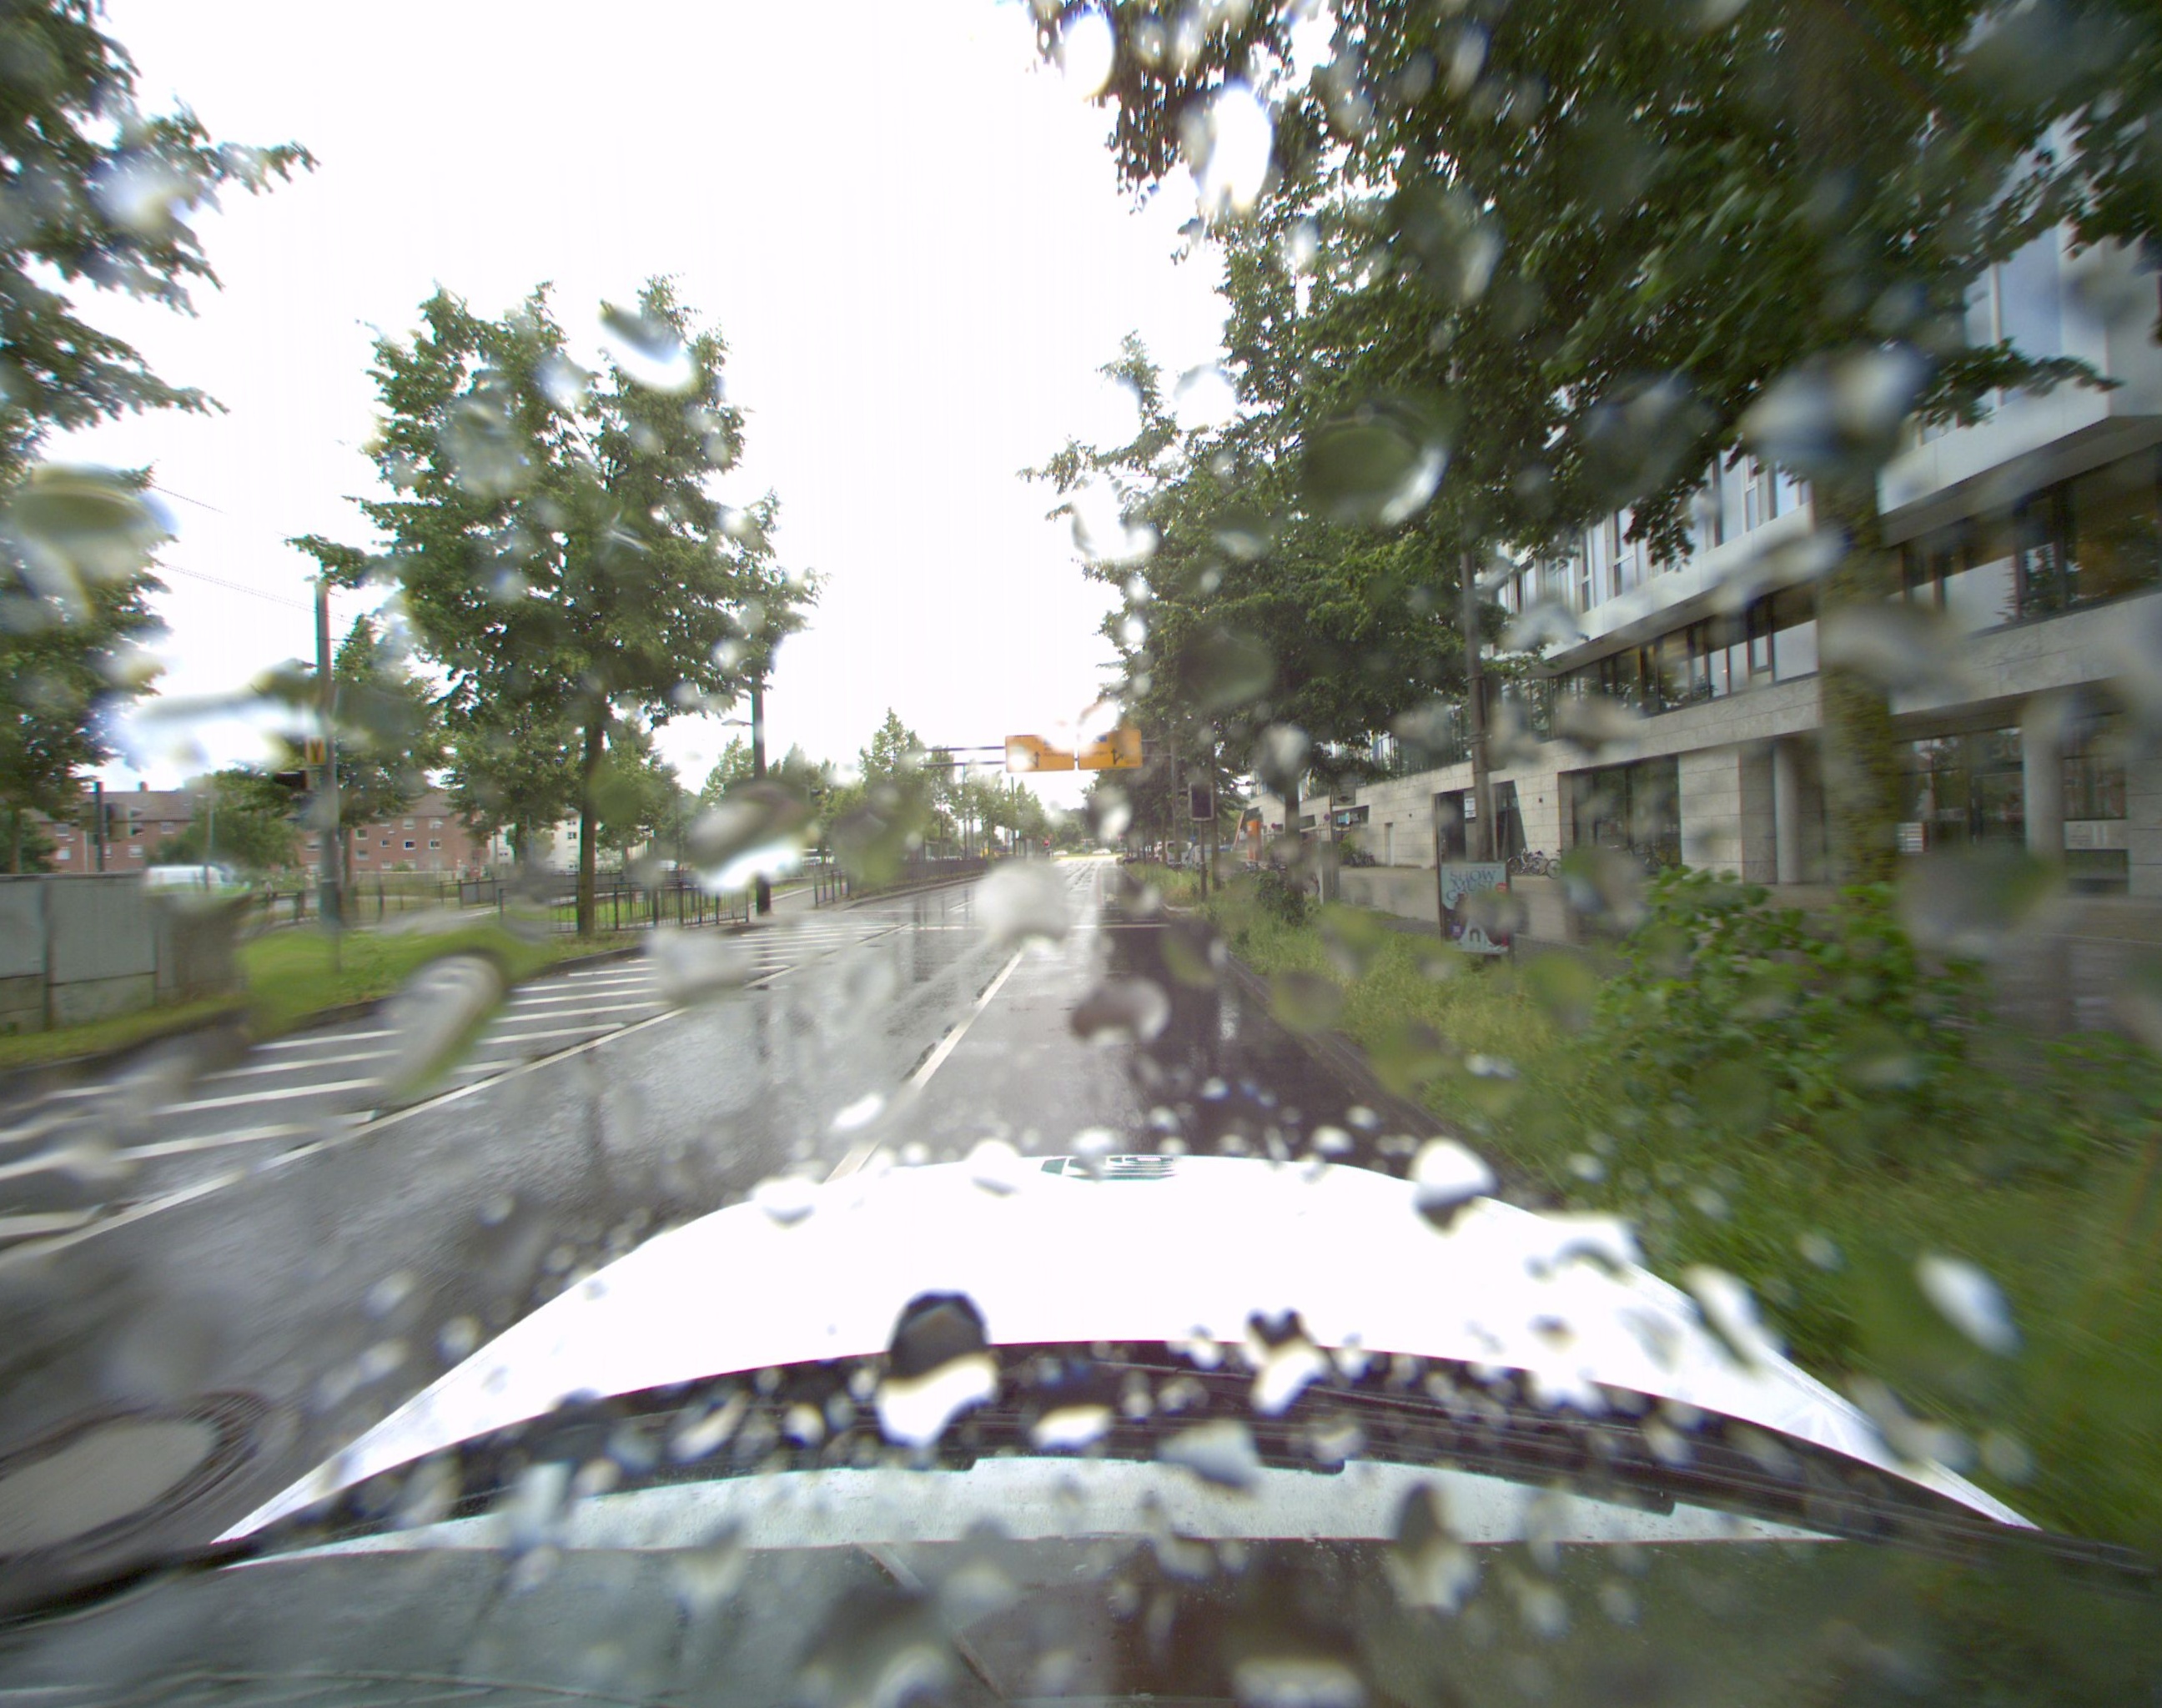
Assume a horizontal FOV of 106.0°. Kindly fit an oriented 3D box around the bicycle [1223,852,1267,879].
[{"bbox_3d":[6.392,0.447,31.787,1.637,0.988,0.320,-2,0,0],"label":"bicycle"}]

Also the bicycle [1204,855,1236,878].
[{"bbox_3d":[6.006,0.536,35.266,1.321,0.910,0.275,-2,0,0],"label":"bicycle"}]

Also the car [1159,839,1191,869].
[{"bbox_3d":[7.609,0.012,66.229,2.113,2.274,4.566,-2,0,1],"label":"car"}]

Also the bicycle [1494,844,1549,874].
[{"bbox_3d":[16.050,0.181,29.694,1.742,1.028,0.412,-2,-1,3],"label":"bicycle"}]

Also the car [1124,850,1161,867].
[{"bbox_3d":[6.279,0.450,83.406,1.827,1.545,3.961,-3,3,-31],"label":"car"}]

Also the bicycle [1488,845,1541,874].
[{"bbox_3d":[16.075,0.199,30.238,1.686,1.028,0.423,-2,-1,3],"label":"bicycle"}]

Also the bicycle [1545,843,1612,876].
[{"bbox_3d":[16.340,0.174,26.756,1.798,1.028,0.541,-2,-1,3],"label":"bicycle"}]

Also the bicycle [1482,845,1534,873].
[{"bbox_3d":[16.098,0.189,30.724,1.686,1.028,0.423,-2,-1,3],"label":"bicycle"}]

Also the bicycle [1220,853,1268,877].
[{"bbox_3d":[6.409,0.436,32.102,1.810,0.849,0.275,-2,0,0],"label":"bicycle"}]

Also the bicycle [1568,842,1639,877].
[{"bbox_3d":[16.254,0.179,25.352,1.798,1.028,0.541,-2,-1,3],"label":"bicycle"}]

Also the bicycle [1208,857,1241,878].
[{"bbox_3d":[5.963,0.566,33.912,1.284,0.849,0.275,-2,0,0],"label":"bicycle"}]

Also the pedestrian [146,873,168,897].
[{"bbox_3d":[-67.559,2.234,59.527,0.676,1.671,0.695,-2,2,-7],"label":"pedestrian"}]

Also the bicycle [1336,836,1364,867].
[{"bbox_3d":[16.075,-0.183,48.736,0.642,1.722,3.122,-2,2,1],"label":"bicycle"}]

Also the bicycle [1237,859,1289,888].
[{"bbox_3d":[6.218,0.658,27.830,1.703,0.948,0.313,-1,-1,-6],"label":"bicycle"}]

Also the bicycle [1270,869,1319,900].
[{"bbox_3d":[5.994,0.865,22.898,1.279,0.832,0.276,-2,0,12],"label":"bicycle"}]

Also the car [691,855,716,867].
[{"bbox_3d":[-61.545,1.061,132.770,3.546,1.738,1.694,-3,2,-23],"label":"car"}]

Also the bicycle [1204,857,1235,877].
[{"bbox_3d":[6.053,0.566,35.614,1.284,0.849,0.275,-2,0,0],"label":"bicycle"}]

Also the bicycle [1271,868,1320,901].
[{"bbox_3d":[5.915,0.841,22.522,1.279,0.874,0.302,-2,0,12],"label":"bicycle"}]

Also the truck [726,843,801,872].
[{"bbox_3d":[-57.761,0.531,148.300,12.515,4.592,3.374,-3,2,-26],"label":"truck"}]

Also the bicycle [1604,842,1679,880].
[{"bbox_3d":[16.122,0.197,23.433,1.798,1.028,0.402,-2,-1,3],"label":"bicycle"}]

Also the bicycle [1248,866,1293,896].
[{"bbox_3d":[5.752,0.808,24.682,1.282,0.858,0.276,-2,0,5],"label":"bicycle"}]

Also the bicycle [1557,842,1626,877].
[{"bbox_3d":[16.292,0.171,26.001,1.798,1.028,0.541,-2,-1,3],"label":"bicycle"}]

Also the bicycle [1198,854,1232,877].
[{"bbox_3d":[6.124,0.514,37.216,1.455,0.979,0.311,-2,0,0],"label":"bicycle"}]

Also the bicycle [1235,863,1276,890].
[{"bbox_3d":[5.777,0.750,27.035,1.281,0.849,0.276,-2,0,7],"label":"bicycle"}]

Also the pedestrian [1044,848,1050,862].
[{"bbox_3d":[-4.905,0.114,117.455,0.692,2.013,0.658,-1,2,14],"label":"pedestrian"}]

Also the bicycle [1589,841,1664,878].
[{"bbox_3d":[16.161,0.172,24.138,1.798,1.028,0.541,-2,-1,3],"label":"bicycle"}]

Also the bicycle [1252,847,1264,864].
[{"bbox_3d":[17.501,0.098,80.598,0.663,1.534,2.766,-2,2,2],"label":"bicycle"}]

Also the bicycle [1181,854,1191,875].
[{"bbox_3d":[4.362,0.424,33.785,0.273,0.849,1.293,-2,0,2],"label":"bicycle"}]

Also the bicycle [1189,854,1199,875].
[{"bbox_3d":[4.686,0.414,33.821,0.273,0.849,1.293,-2,0,2],"label":"bicycle"}]

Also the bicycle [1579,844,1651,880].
[{"bbox_3d":[16.211,0.236,24.746,1.798,1.028,0.541,-2,-1,3],"label":"bicycle"}]

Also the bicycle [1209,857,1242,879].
[{"bbox_3d":[5.947,0.564,33.551,1.284,0.849,0.355,-2,0,0],"label":"bicycle"}]

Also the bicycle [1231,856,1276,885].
[{"bbox_3d":[6.353,0.607,30.023,1.609,1.022,0.275,-1,-1,0],"label":"bicycle"}]

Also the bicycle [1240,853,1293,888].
[{"bbox_3d":[6.268,0.541,27.521,1.703,1.103,0.283,-2,0,-6],"label":"bicycle"}]

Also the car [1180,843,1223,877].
[{"bbox_3d":[7.015,0.319,47.724,1.899,1.791,4.690,-2,0,1],"label":"car"}]

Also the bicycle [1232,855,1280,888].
[{"bbox_3d":[6.117,0.603,28.507,1.608,1.096,0.296,-2,0,-1],"label":"bicycle"}]

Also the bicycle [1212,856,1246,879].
[{"bbox_3d":[5.959,0.542,32.831,1.284,0.849,0.275,-2,0,0],"label":"bicycle"}]

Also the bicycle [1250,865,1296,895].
[{"bbox_3d":[5.739,0.780,24.369,1.282,0.849,0.276,-2,0,6],"label":"bicycle"}]

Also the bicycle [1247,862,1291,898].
[{"bbox_3d":[5.784,0.798,25.106,1.281,1.074,0.276,-2,0,9],"label":"bicycle"}]

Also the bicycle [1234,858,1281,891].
[{"bbox_3d":[5.800,0.682,26.724,1.445,1.017,0.349,-2,0,6],"label":"bicycle"}]

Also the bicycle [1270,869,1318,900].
[{"bbox_3d":[6.057,0.875,23.185,1.279,0.849,0.276,-2,0,12],"label":"bicycle"}]

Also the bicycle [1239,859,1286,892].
[{"bbox_3d":[5.872,0.709,26.356,1.431,1.017,0.349,-2,0,6],"label":"bicycle"}]

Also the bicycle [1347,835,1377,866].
[{"bbox_3d":[16.860,-0.218,48.931,0.769,1.722,3.122,-2,2,1],"label":"bicycle"}]

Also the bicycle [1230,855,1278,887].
[{"bbox_3d":[6.118,0.601,28.771,1.608,1.053,0.296,-2,0,-1],"label":"bicycle"}]

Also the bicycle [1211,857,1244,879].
[{"bbox_3d":[5.963,0.553,33.195,1.284,0.849,0.275,-2,0,0],"label":"bicycle"}]

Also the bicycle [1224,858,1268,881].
[{"bbox_3d":[6.293,0.588,31.003,1.609,0.849,0.275,-1,-1,0],"label":"bicycle"}]

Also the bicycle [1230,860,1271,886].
[{"bbox_3d":[6.166,0.679,29.690,1.406,0.897,0.275,-2,0,-1],"label":"bicycle"}]

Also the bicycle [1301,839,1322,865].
[{"bbox_3d":[16.663,-0.160,58.882,0.642,1.722,3.122,-2,2,1],"label":"bicycle"}]

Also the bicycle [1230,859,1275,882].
[{"bbox_3d":[6.397,0.610,30.329,1.609,0.849,0.275,-1,-1,0],"label":"bicycle"}]

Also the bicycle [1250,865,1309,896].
[{"bbox_3d":[5.853,0.769,24.030,1.664,0.849,0.276,-2,0,5],"label":"bicycle"}]

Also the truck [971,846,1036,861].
[{"bbox_3d":[-18.148,-0.141,190.956,14.919,3.147,3.497,-1,0,-22],"label":"truck"}]

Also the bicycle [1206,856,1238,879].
[{"bbox_3d":[5.920,0.565,34.268,1.284,0.918,0.275,-2,0,0],"label":"bicycle"}]

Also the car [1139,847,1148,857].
[{"bbox_3d":[11.733,-0.400,152.158,1.616,1.699,3.461,-2,2,5],"label":"car"}]

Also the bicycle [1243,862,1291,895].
[{"bbox_3d":[5.923,0.778,25.955,1.431,1.017,0.349,-2,0,8],"label":"bicycle"}]

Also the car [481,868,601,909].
[{"bbox_3d":[-25.093,1.541,38.118,1.945,1.607,5.499,-2,0,-1],"label":"car"}]

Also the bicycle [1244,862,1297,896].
[{"bbox_3d":[5.914,0.782,25.495,1.565,1.017,0.409,-2,0,8],"label":"bicycle"}]

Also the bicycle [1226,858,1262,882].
[{"bbox_3d":[6.126,0.604,30.671,1.284,0.849,0.275,-2,0,0],"label":"bicycle"}]

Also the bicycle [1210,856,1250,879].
[{"bbox_3d":[5.961,0.532,32.527,1.517,0.849,0.277,-2,0,0],"label":"bicycle"}]

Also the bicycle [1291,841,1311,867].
[{"bbox_3d":[15.919,-0.045,58.928,0.642,1.722,3.122,-2,2,1],"label":"bicycle"}]
